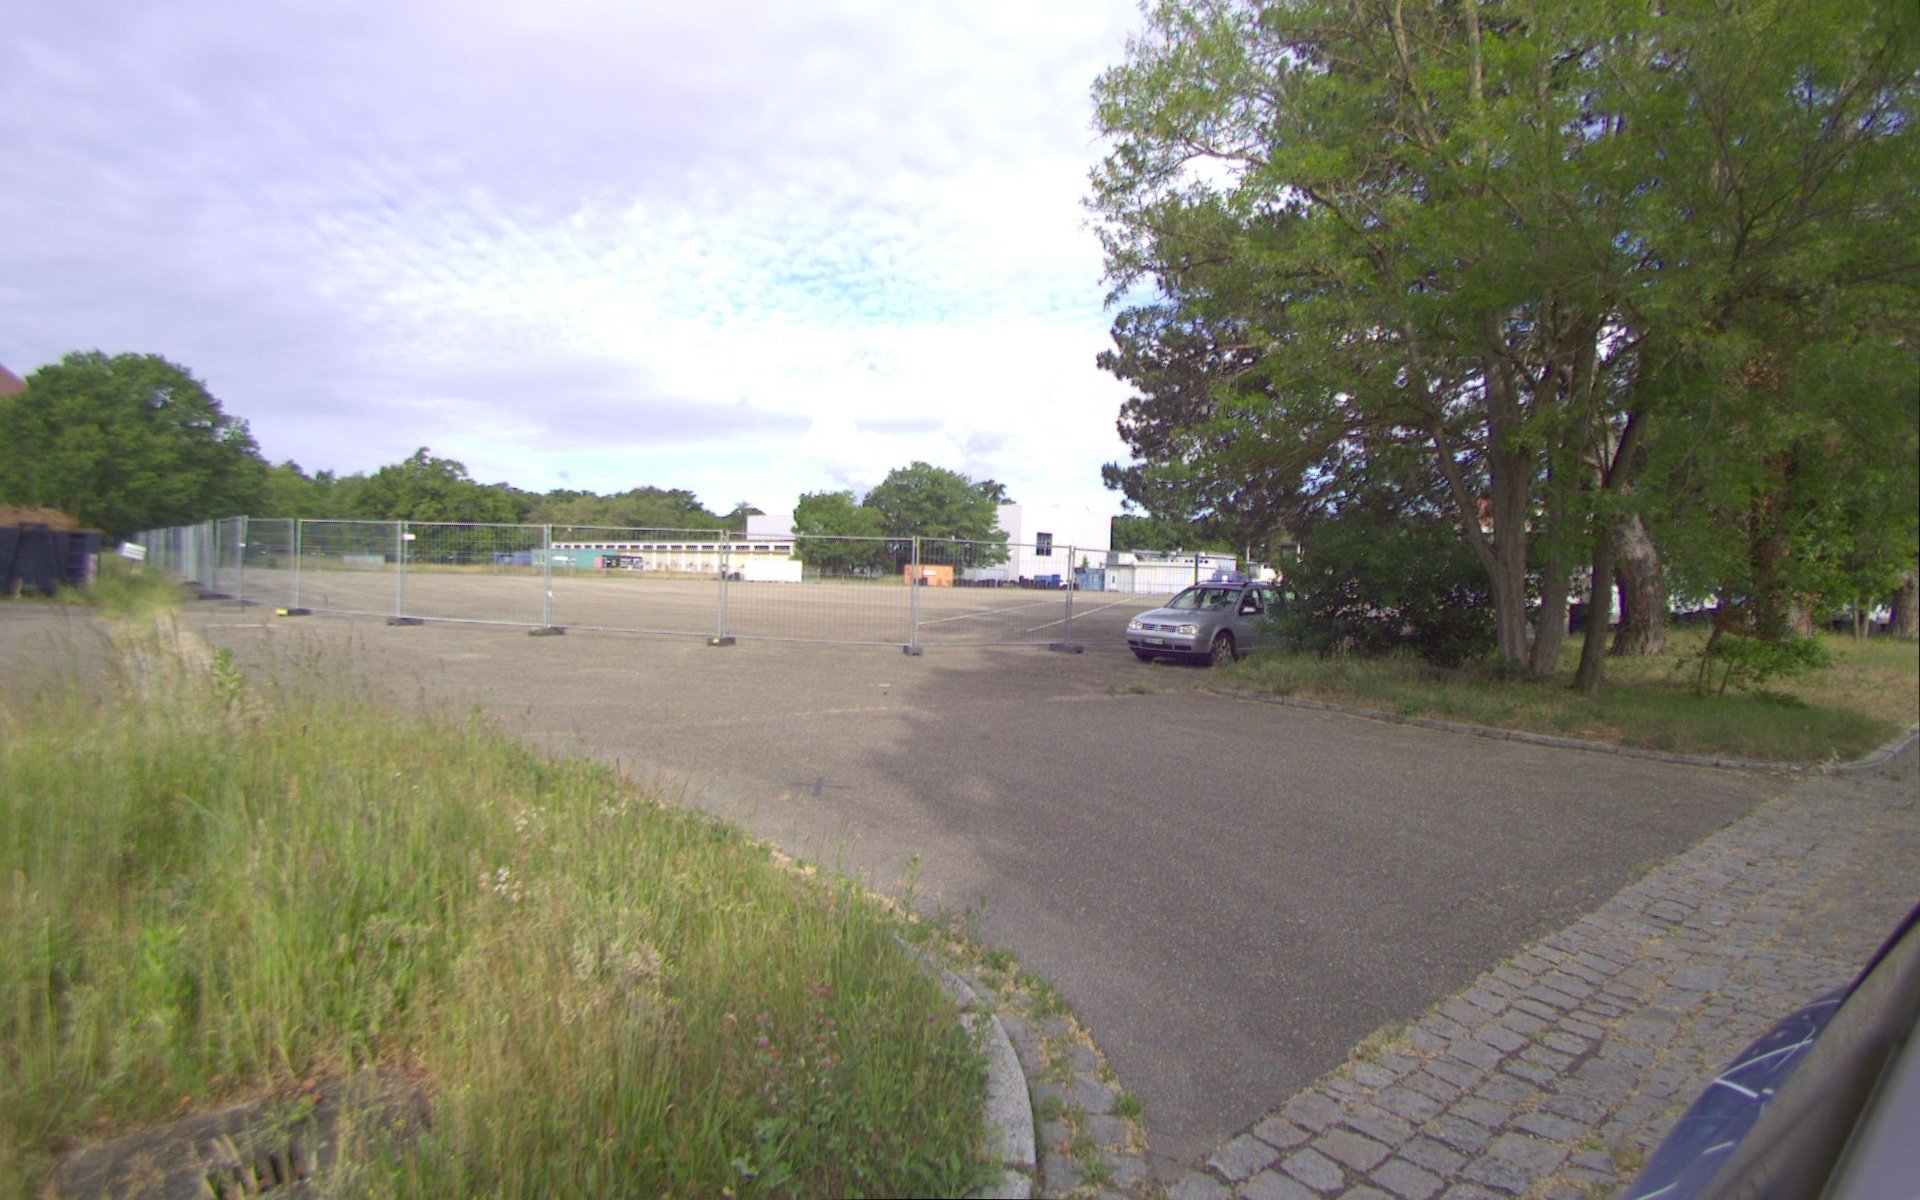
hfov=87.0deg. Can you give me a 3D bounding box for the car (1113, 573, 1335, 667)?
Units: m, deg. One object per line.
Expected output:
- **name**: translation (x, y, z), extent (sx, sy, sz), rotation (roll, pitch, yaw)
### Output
- **car**: translation (4.859, 0.323, 18.337), extent (4.251, 1.466, 1.759), rotation (1, 2, -41)
